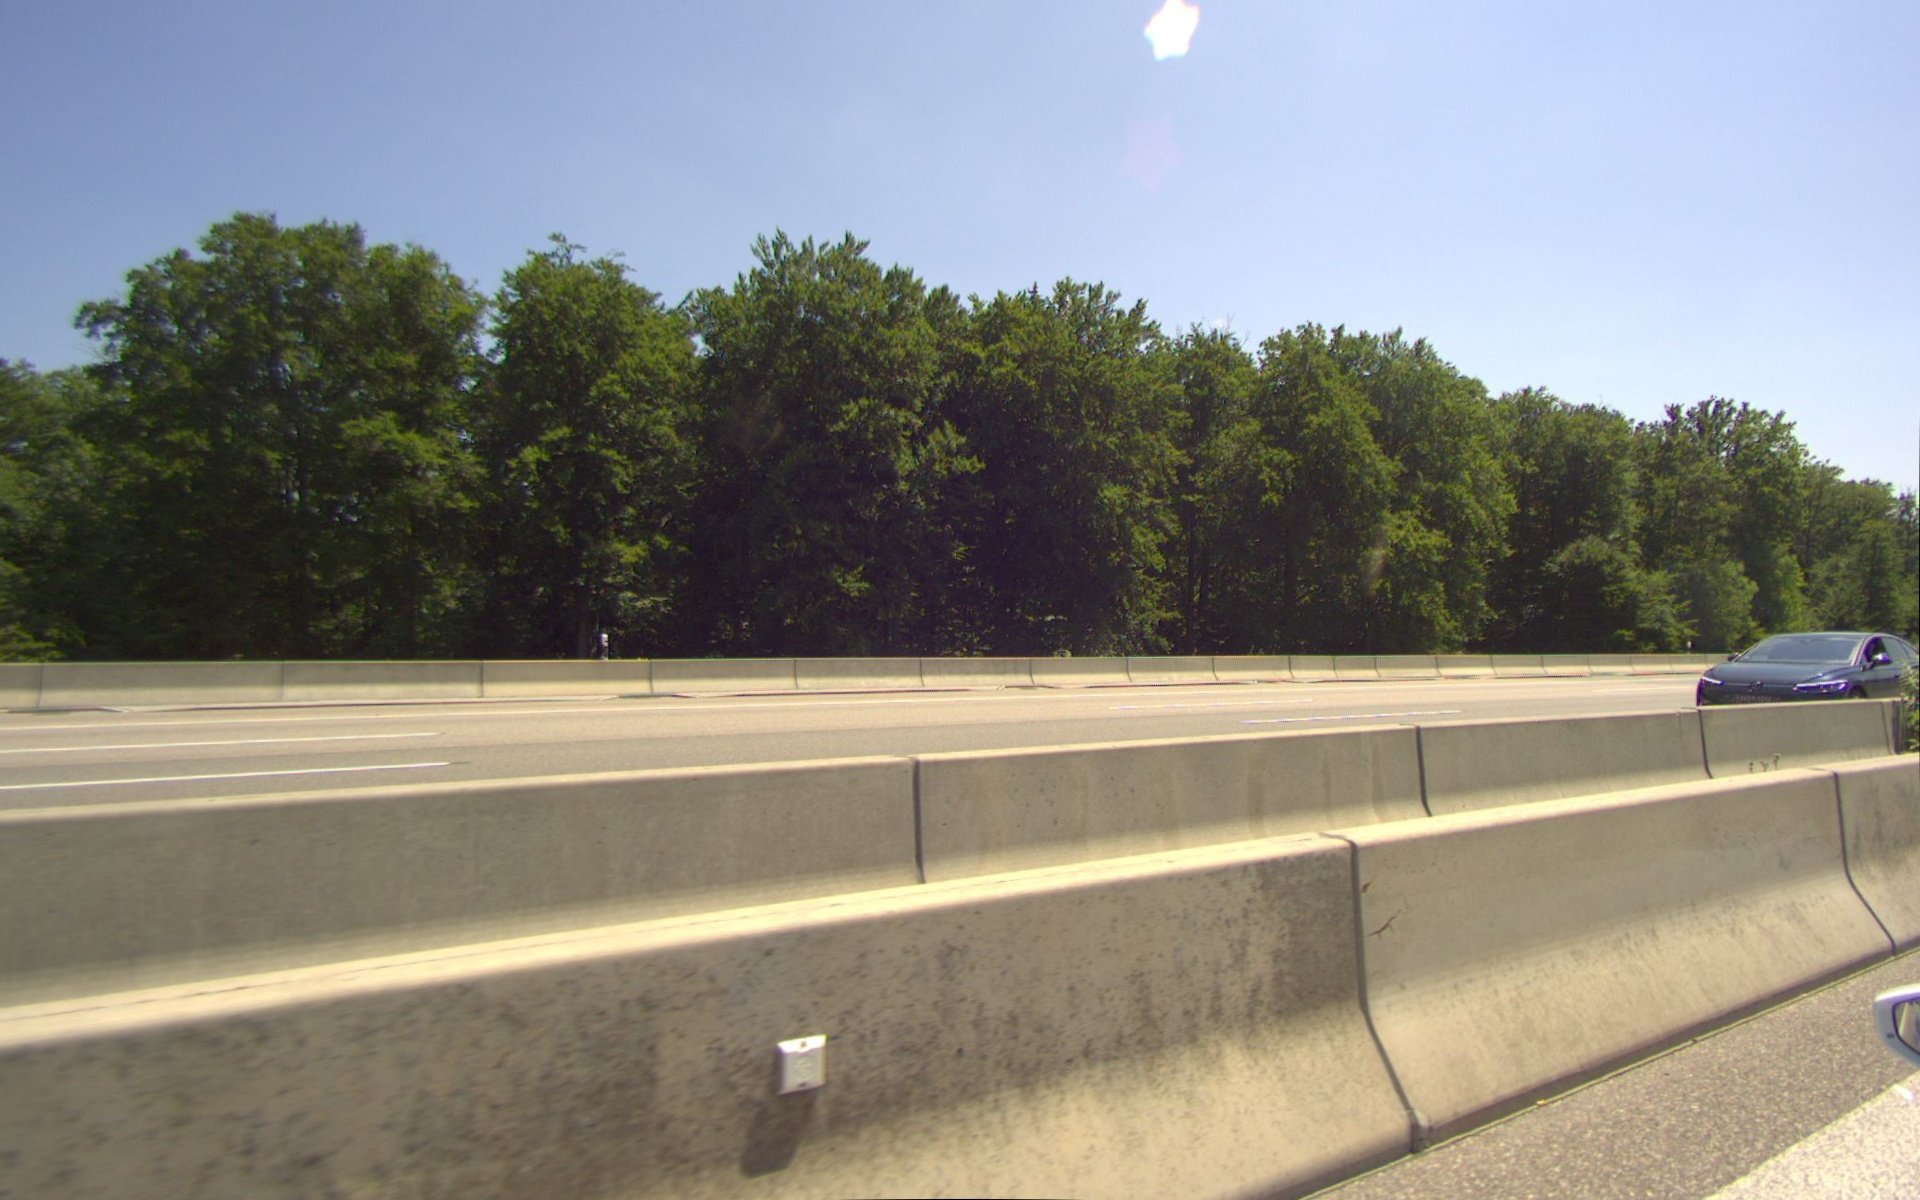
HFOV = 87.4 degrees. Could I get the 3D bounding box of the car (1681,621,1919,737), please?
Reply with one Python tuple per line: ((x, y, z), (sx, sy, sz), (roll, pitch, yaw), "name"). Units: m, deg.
((13.526, 1.155, 15.785), (4.729, 1.589, 1.823), (2, -1, -30), "car")
